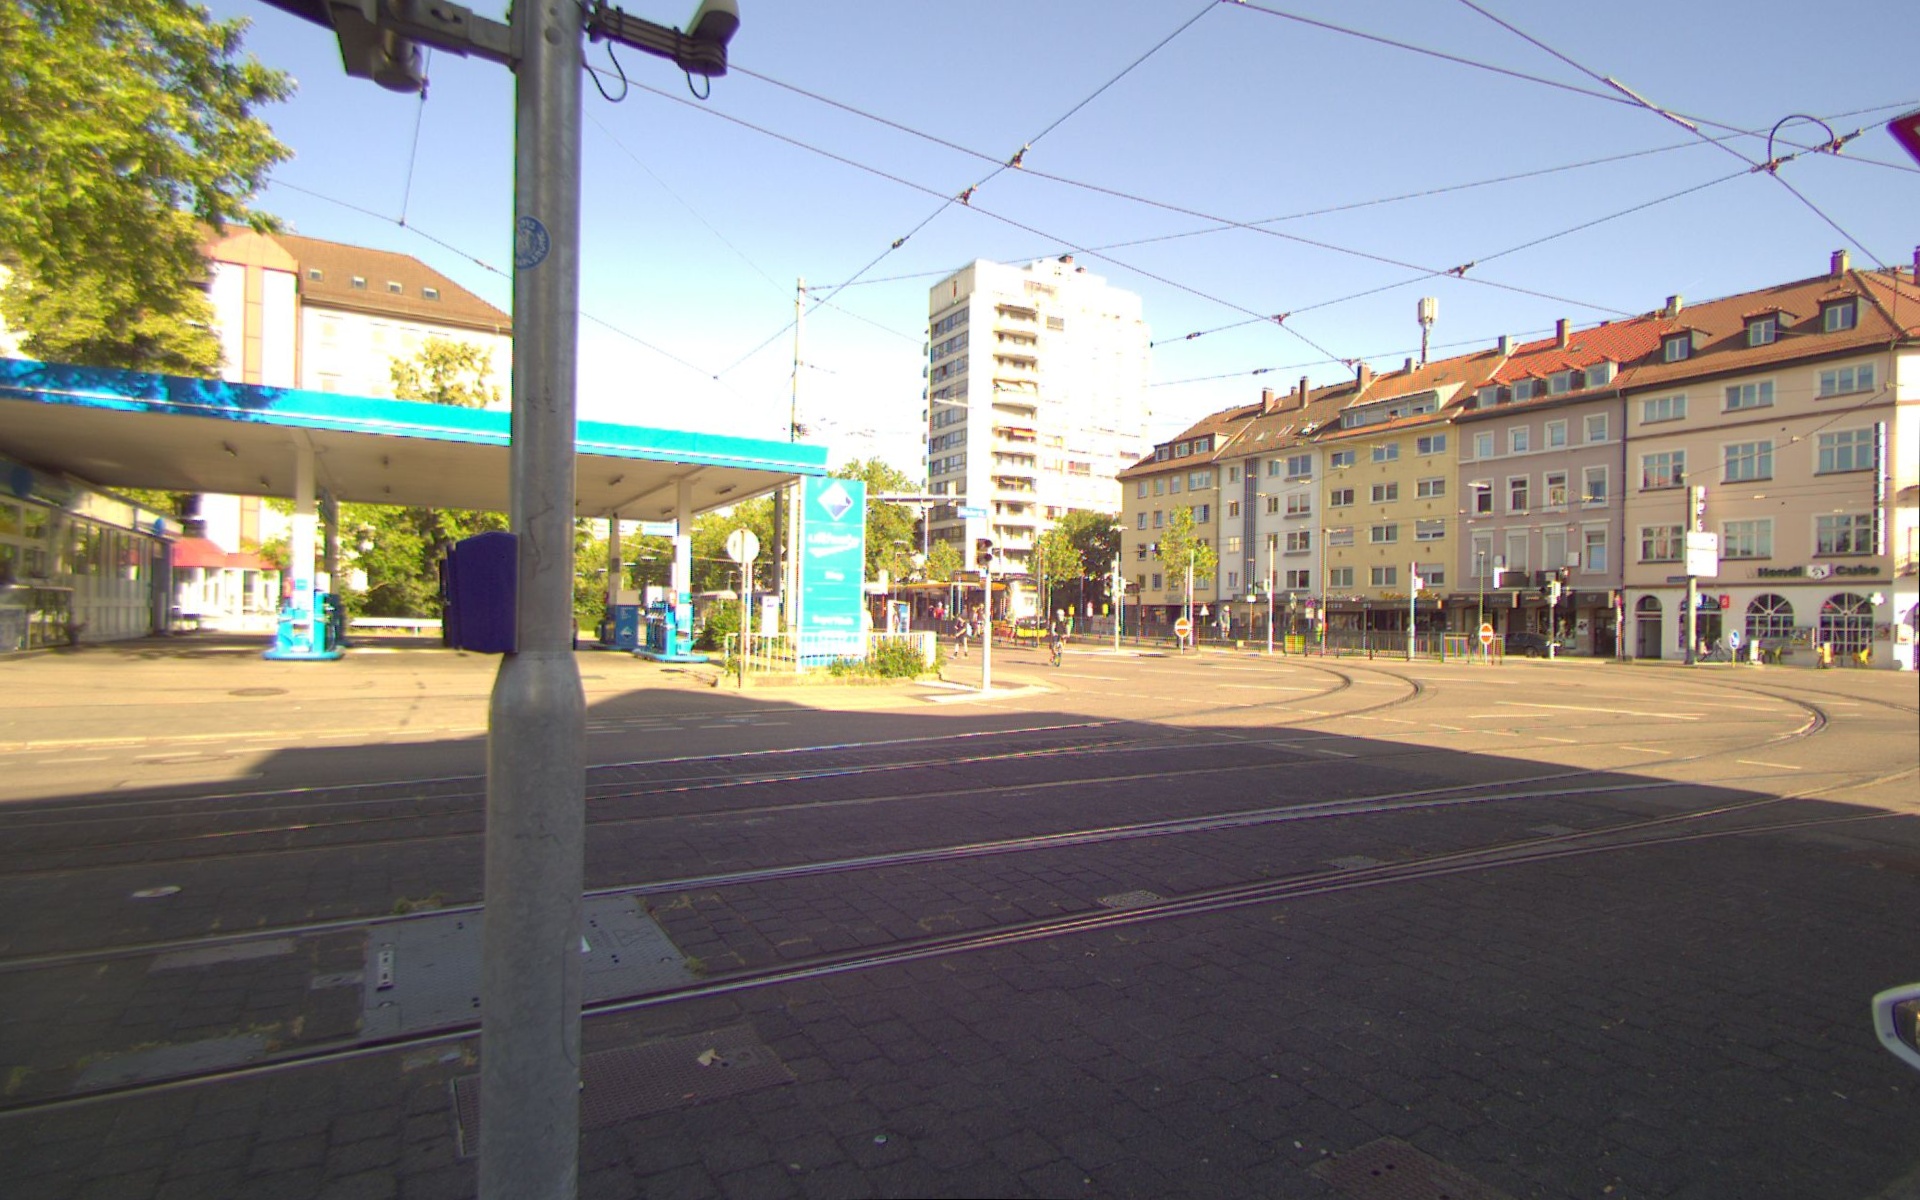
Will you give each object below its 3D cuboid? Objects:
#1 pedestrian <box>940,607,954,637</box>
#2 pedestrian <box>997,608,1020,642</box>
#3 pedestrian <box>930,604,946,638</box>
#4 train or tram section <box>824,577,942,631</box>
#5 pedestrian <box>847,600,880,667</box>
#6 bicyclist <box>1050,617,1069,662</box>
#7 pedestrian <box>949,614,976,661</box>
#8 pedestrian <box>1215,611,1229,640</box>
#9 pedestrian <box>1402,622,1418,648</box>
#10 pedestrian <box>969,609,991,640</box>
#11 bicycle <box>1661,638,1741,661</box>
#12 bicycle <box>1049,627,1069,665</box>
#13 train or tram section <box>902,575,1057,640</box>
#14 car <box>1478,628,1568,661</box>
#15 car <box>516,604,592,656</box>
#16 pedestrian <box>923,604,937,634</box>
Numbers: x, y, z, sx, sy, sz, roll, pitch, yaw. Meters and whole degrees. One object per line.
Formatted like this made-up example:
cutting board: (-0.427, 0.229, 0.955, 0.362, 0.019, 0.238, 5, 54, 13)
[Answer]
pedestrian: (-0.725, 1.222, 56.119, 0.580, 1.613, 0.520, 2, 0, -31)
pedestrian: (2.323, 1.206, 48.133, 0.814, 1.608, 0.699, 1, -1, -33)
pedestrian: (-1.236, 1.202, 56.978, 0.666, 1.913, 0.520, 2, 0, -31)
train or tram section: (-5.490, 0.206, 68.006, 2.751, 3.273, 12.286, 2, 0, -31)
pedestrian: (-2.783, 0.956, 28.917, 0.778, 1.893, 0.674, 2, 0, 6)
bicyclist: (3.115, 1.231, 31.402, 0.549, 1.384, 0.803, 2, 0, 5)
pedestrian: (0.102, 1.360, 36.702, 0.675, 1.656, 0.694, 2, 0, -35)
pedestrian: (15.232, 1.490, 58.409, 0.570, 1.649, 0.522, 2, 0, -31)
pedestrian: (29.124, 2.286, 65.022, 0.693, 1.656, 0.629, 2, 0, -33)
pedestrian: (1.001, 1.229, 50.541, 0.814, 1.532, 0.699, 1, -1, -33)
bicycle: (37.501, 2.498, 50.901, 0.989, 0.993, 3.115, 2, 0, -29)
bicycle: (3.100, 1.424, 31.414, 0.563, 1.084, 1.795, 2, 0, 5)
train or tram section: (0.749, 0.343, 57.534, 2.751, 3.273, 12.286, 2, 0, -31)
car: (30.856, 2.424, 55.145, 1.970, 1.692, 3.981, 1, -1, -21)
car: (-12.189, 0.866, 30.084, 1.764, 1.411, 3.455, 2, 0, -28)
pedestrian: (-1.688, 1.069, 56.101, 0.580, 1.613, 0.520, 2, 0, -31)
